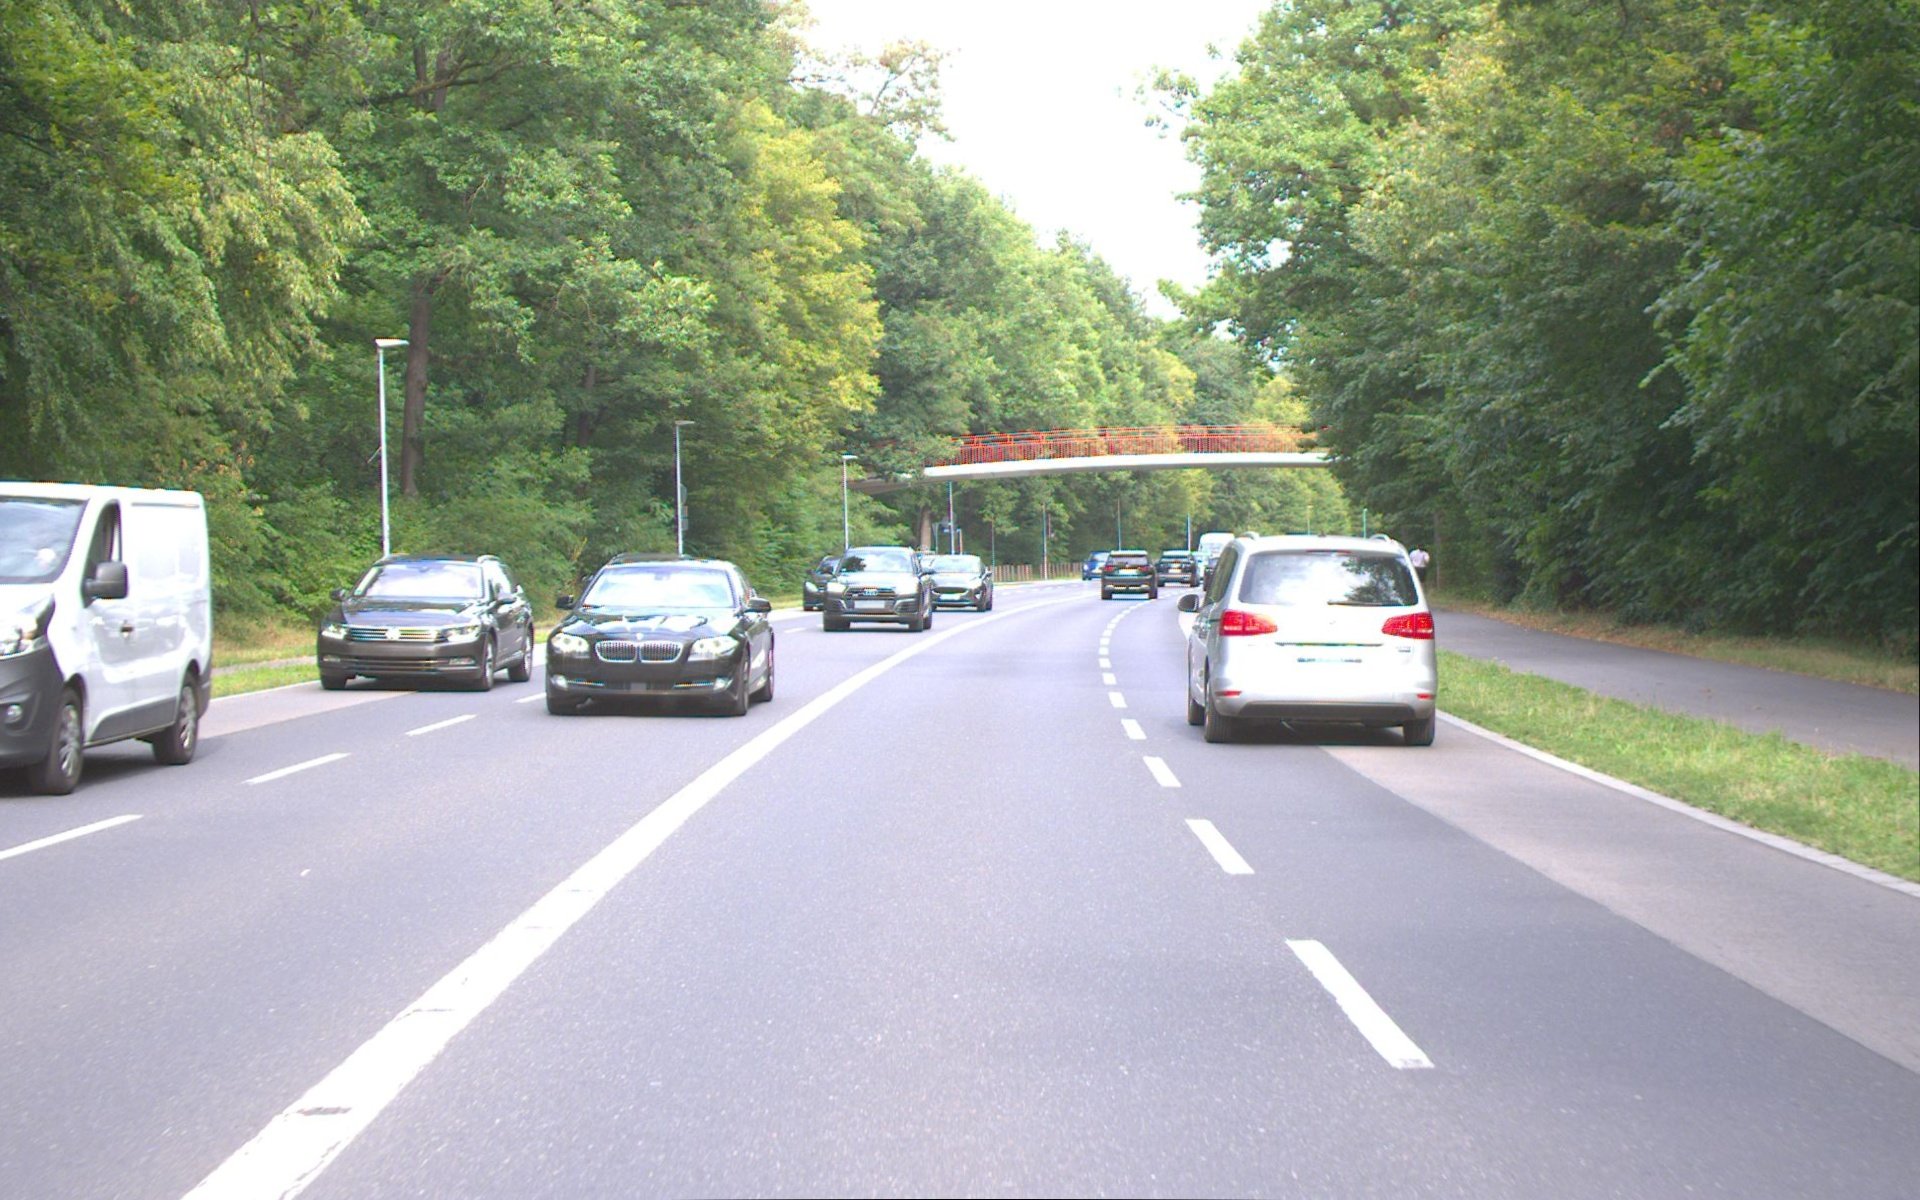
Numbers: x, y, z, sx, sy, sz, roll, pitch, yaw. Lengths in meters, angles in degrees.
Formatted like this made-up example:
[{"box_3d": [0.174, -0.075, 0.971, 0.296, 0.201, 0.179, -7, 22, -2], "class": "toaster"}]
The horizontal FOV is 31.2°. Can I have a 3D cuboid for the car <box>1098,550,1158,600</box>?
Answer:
[{"box_3d": [5.640, -0.807, 114.918, 1.730, 1.582, 3.999, 2, 0, 6], "class": "car"}]

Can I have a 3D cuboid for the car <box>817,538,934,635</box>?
[{"box_3d": [-1.588, -0.258, 66.004, 1.963, 1.700, 4.000, -3, 0, 2], "class": "car"}]

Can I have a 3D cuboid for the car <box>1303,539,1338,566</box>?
[{"box_3d": [24.119, -3.195, 229.986, 1.994, 1.700, 3.999, -2, 1, 10], "class": "car"}]

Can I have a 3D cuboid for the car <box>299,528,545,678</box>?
[{"box_3d": [-5.908, 0.033, 38.263, 1.885, 1.552, 4.518, 1, 0, 2], "class": "car"}]

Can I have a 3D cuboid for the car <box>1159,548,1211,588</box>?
[{"box_3d": [10.145, -1.417, 154.886, 1.994, 1.691, 3.999, 2, 0, 8], "class": "car"}]

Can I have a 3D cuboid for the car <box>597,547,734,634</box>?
[{"box_3d": [-5.018, -0.197, 59.068, 1.815, 1.415, 4.519, 1, 1, 2], "class": "car"}]

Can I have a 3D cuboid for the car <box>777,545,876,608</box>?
[{"box_3d": [-3.453, -0.591, 89.361, 1.994, 1.547, 3.999, 2, 0, 6], "class": "car"}]

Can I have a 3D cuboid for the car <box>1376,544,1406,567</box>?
[{"box_3d": [32.696, -3.366, 260.594, 1.804, 1.662, 3.997, 2, 0, 13], "class": "car"}]

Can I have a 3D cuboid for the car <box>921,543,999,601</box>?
[{"box_3d": [0.016, -0.720, 89.177, 1.698, 1.381, 3.826, -3, 0, 4], "class": "car"}]

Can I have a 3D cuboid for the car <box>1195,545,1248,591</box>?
[{"box_3d": [10.685, -1.298, 140.357, 1.994, 1.744, 3.999, 2, 0, 6], "class": "car"}]

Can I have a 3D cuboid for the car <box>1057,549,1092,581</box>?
[{"box_3d": [6.059, -1.815, 181.373, 1.741, 1.590, 4.000, 2, 0, 3], "class": "car"}]

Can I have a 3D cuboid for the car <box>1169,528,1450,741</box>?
[{"box_3d": [2.846, 0.265, 28.808, 1.993, 1.601, 4.000, 2, 0, 1], "class": "car"}]

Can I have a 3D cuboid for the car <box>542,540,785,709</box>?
[{"box_3d": [-2.779, 0.187, 33.141, 1.885, 1.473, 4.519, 1, 1, 1], "class": "car"}]

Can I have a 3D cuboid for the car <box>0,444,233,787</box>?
[{"box_3d": [-6.344, 0.098, 22.678, 1.993, 2.007, 5.054, -1, 0, 0], "class": "car"}]
